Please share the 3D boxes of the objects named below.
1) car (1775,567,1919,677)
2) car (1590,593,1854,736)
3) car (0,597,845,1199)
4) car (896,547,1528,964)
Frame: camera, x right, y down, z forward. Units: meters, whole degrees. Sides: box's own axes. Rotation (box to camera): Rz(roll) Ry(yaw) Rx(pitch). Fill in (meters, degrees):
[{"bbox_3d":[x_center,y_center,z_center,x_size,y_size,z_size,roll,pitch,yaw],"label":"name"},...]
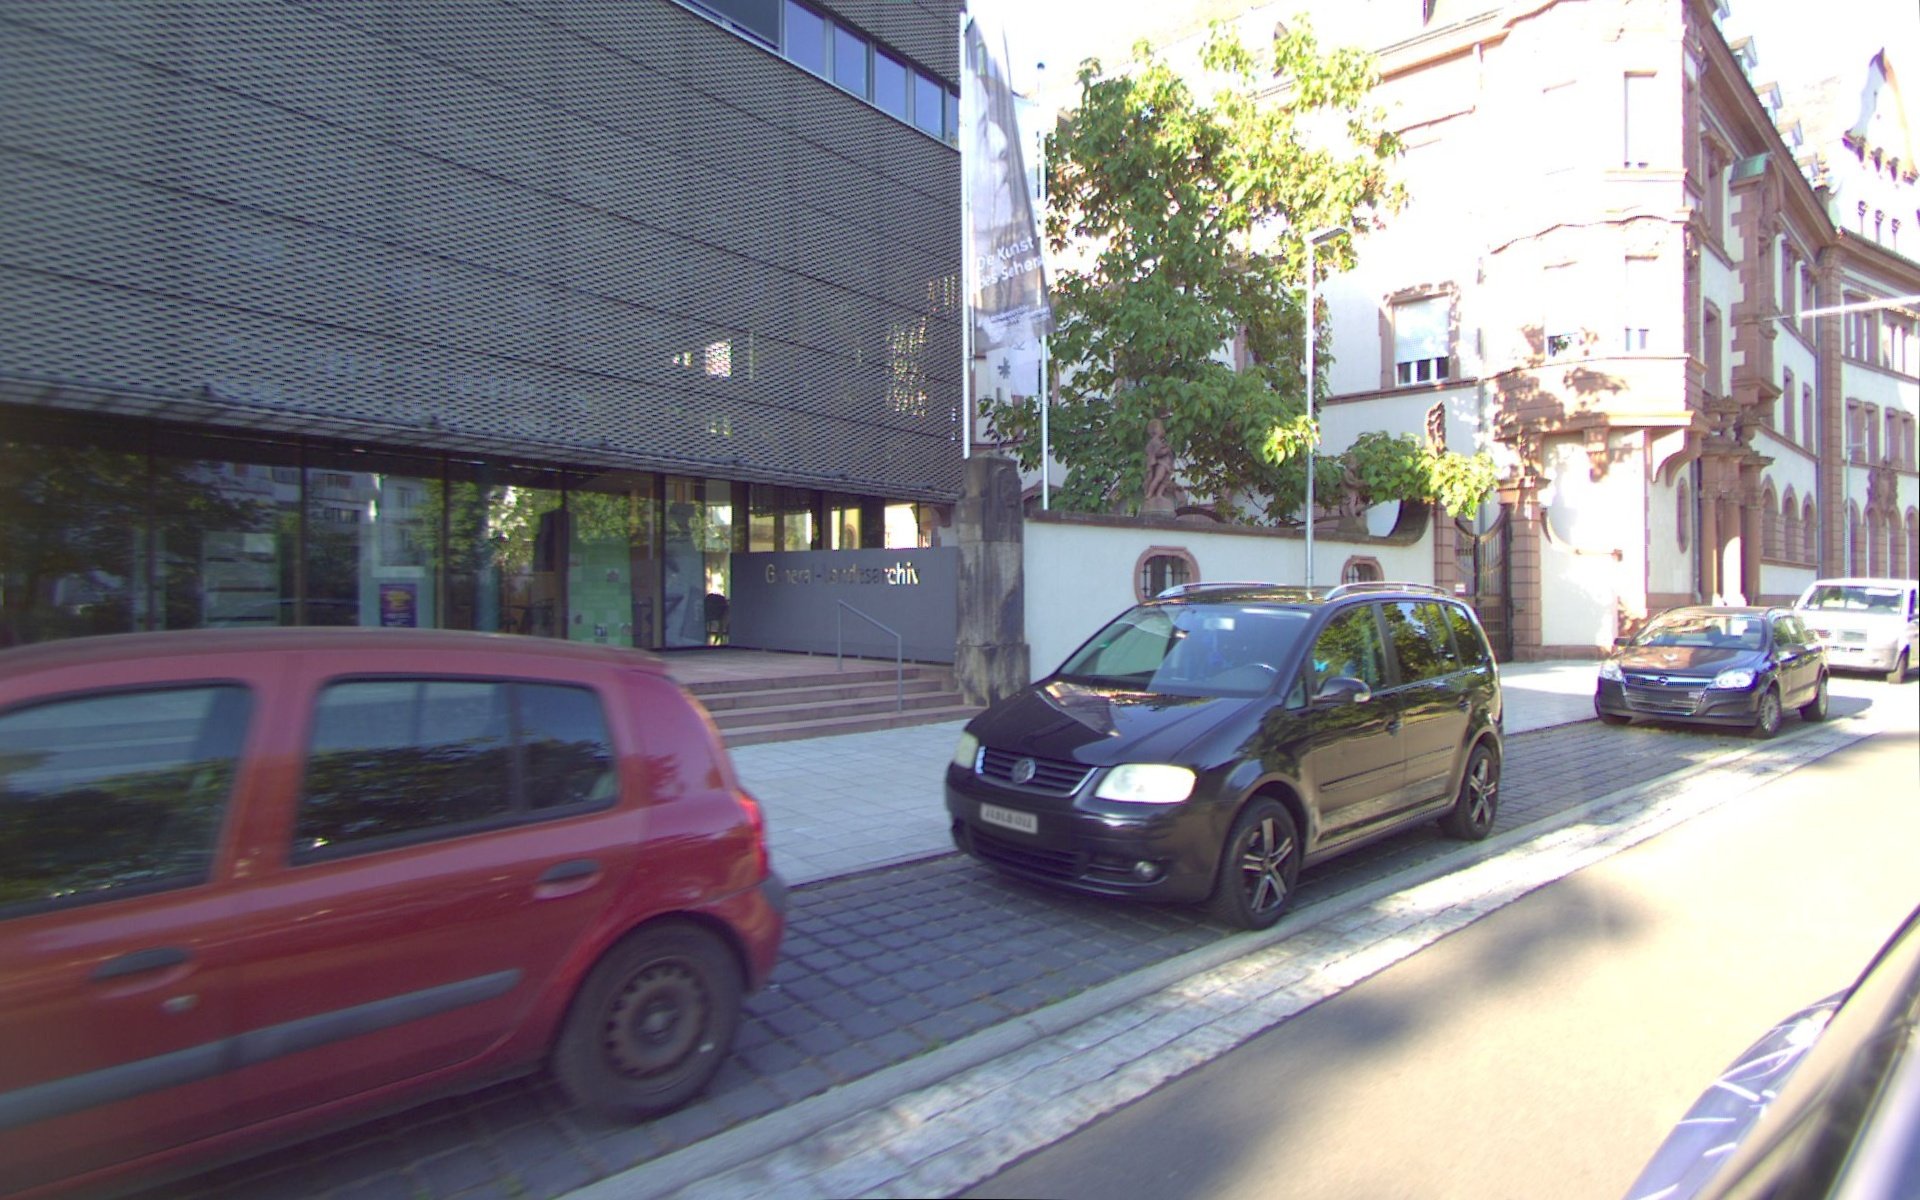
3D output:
[{"bbox_3d":[18.832,0.364,20.761,4.757,1.990,2.001,0,2,-35],"label":"car"},{"bbox_3d":[9.825,0.678,12.916,4.398,1.485,1.751,-1,1,-40],"label":"car"},{"bbox_3d":[-2.391,0.725,2.756,3.837,1.439,1.727,0,1,-40],"label":"car"},{"bbox_3d":[1.737,0.604,6.098,4.043,1.690,1.727,0,1,-42],"label":"car"}]
